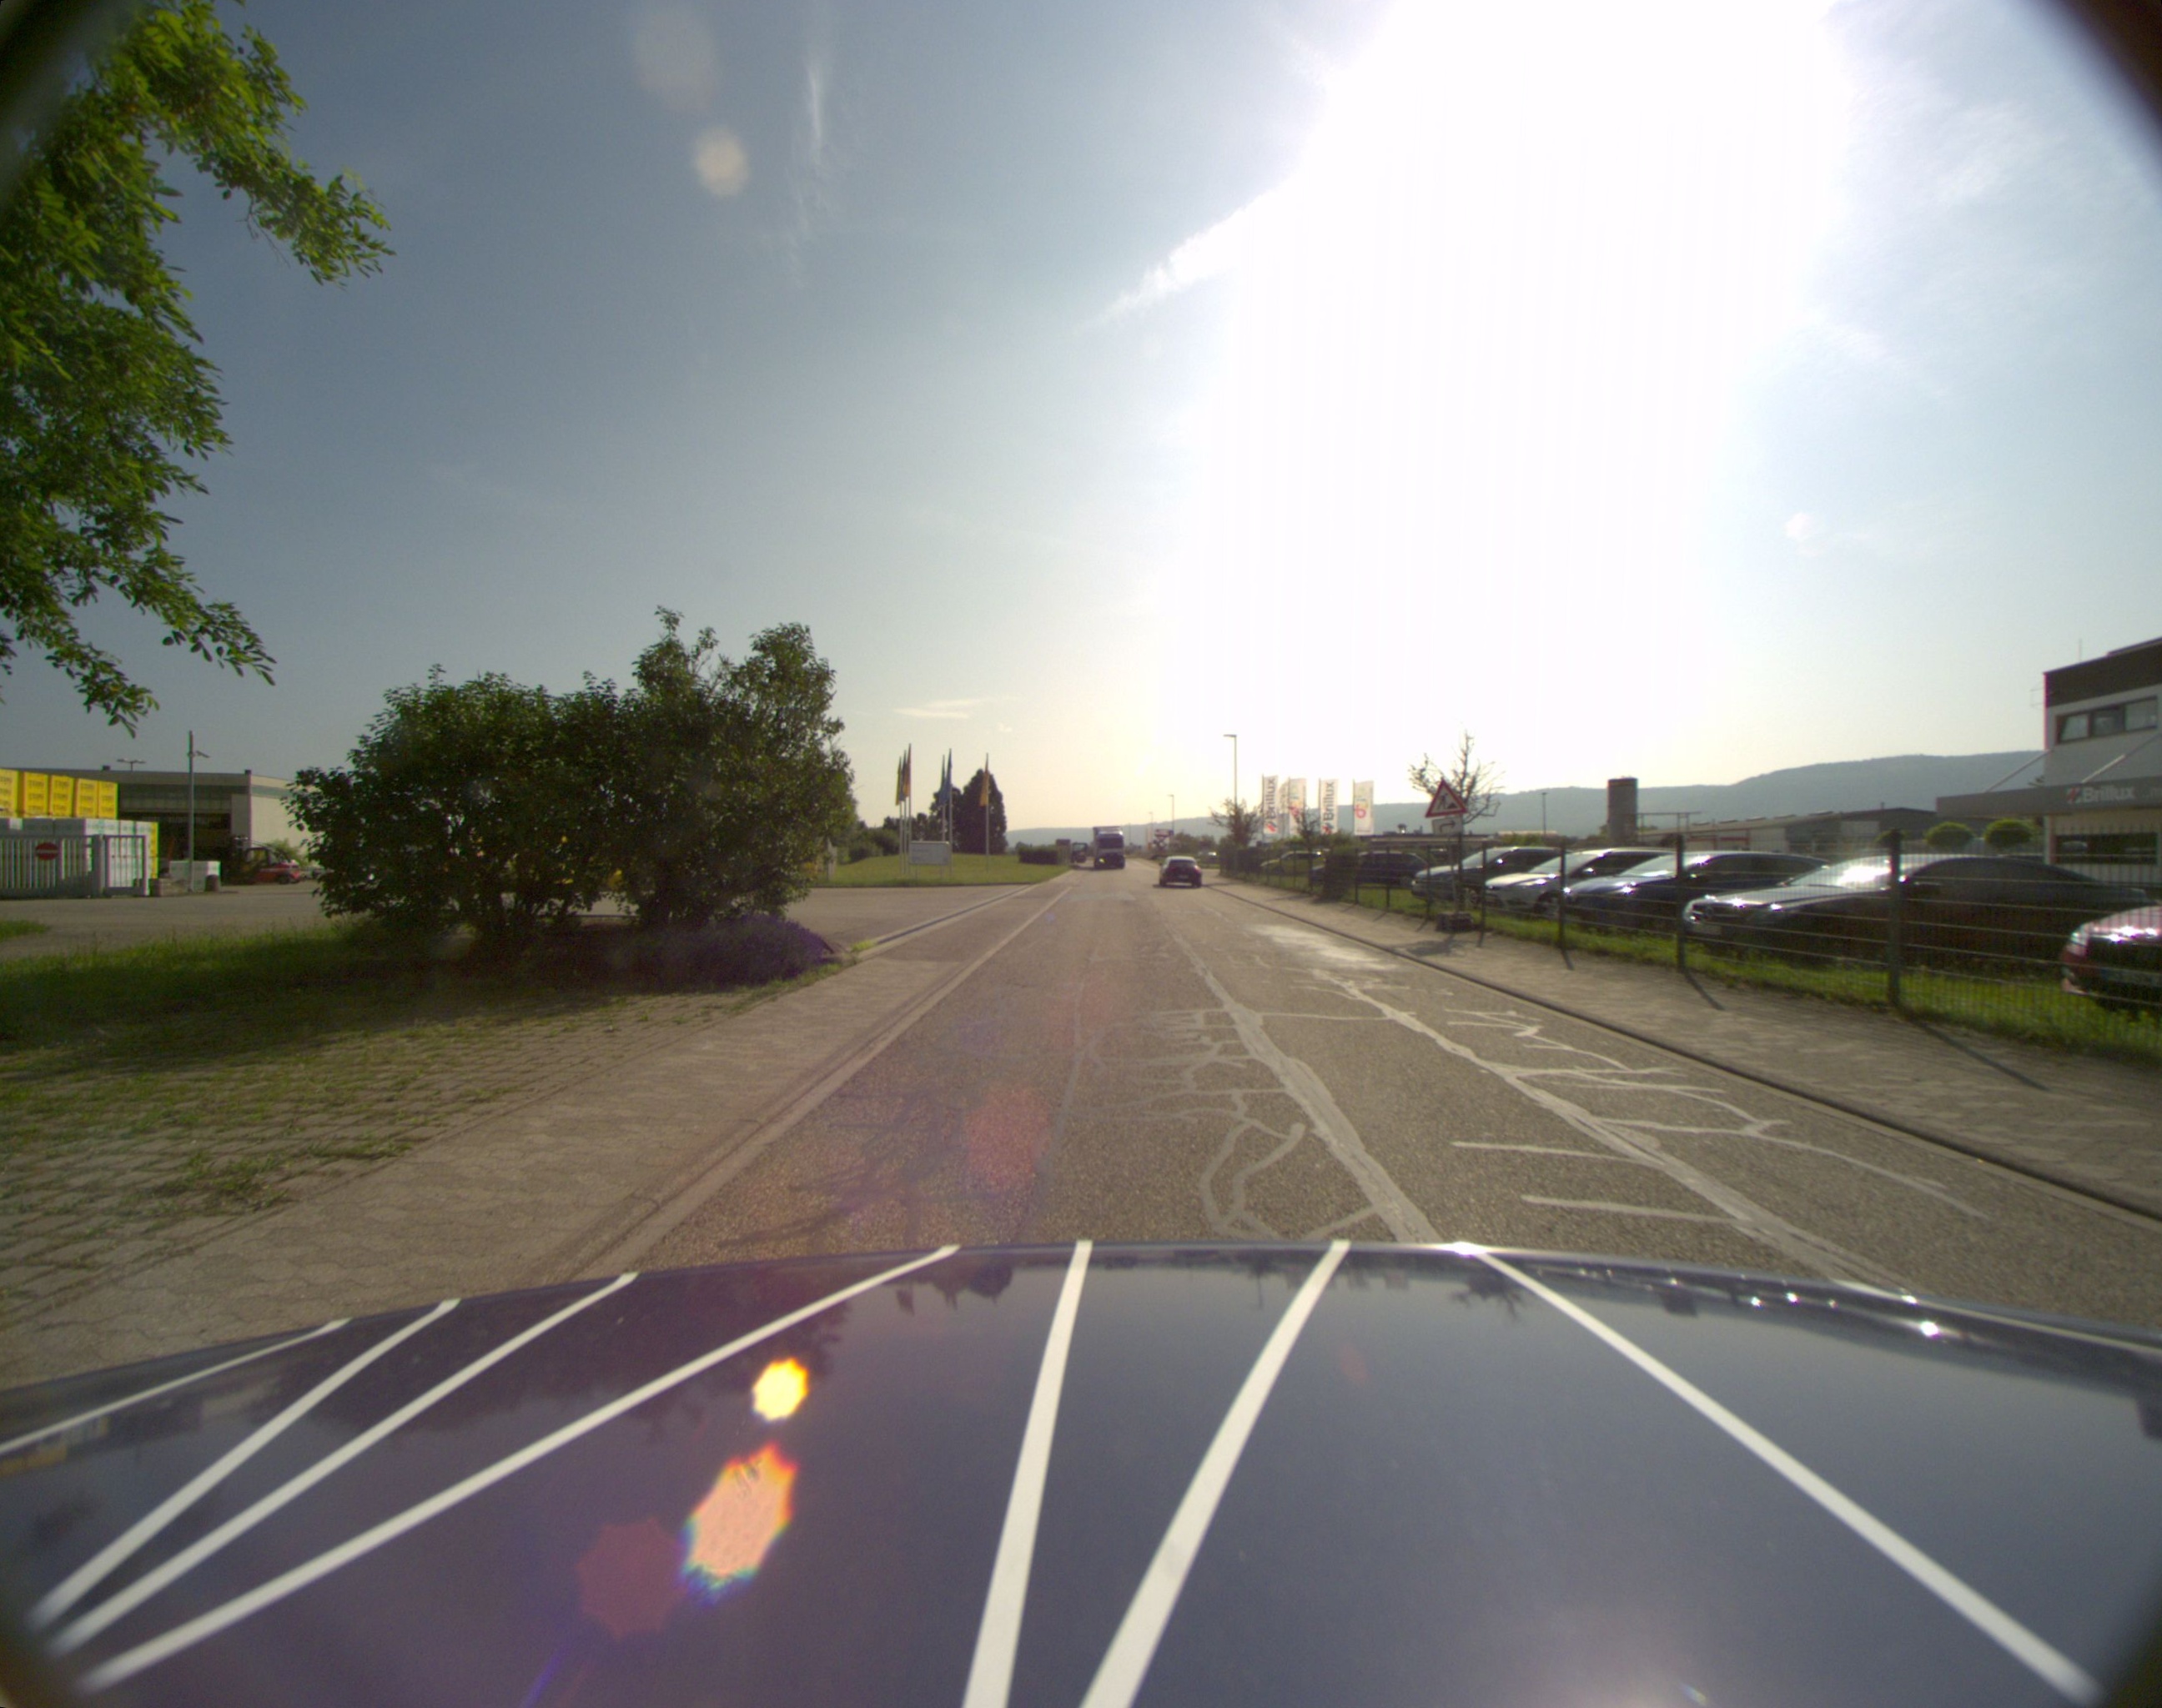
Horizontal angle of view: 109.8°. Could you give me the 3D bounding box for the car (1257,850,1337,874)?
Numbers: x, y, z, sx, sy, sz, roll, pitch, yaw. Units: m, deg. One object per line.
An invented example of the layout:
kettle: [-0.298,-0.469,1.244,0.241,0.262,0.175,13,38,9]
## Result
car: [12.482,0.439,44.098,4.173,1.360,1.869,0,1,3]

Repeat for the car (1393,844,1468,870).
car: [24.436,0.206,53.275,4.653,1.742,2.155,0,1,24]

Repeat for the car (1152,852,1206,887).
car: [4.579,0.694,35.990,1.998,1.441,4.419,2,0,1]

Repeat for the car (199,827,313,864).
car: [-47.735,-0.476,44.061,4.003,2.002,1.996,0,1,-19]

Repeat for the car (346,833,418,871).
car: [-51.794,-0.144,56.338,3.518,2.695,1.708,0,1,-19]

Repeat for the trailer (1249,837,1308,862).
trailer: [22.236,-0.491,85.415,6.314,2.590,2.858,1,1,16]

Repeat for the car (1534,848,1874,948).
car: [10.178,0.673,12.681,4.050,1.436,1.874,1,1,2]

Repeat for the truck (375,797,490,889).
truck: [-29.386,-0.509,34.659,2.548,3.854,3.993,-3,2,-19]

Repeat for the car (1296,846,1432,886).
car: [11.296,0.475,30.631,4.697,1.436,2.078,1,1,2]

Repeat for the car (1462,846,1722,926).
car: [10.401,0.615,15.729,4.050,1.436,1.874,1,1,2]

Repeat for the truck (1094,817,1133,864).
truck: [3.142,-1.296,72.876,3.394,4.183,6.098,-2,1,3]

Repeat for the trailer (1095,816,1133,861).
trailer: [3.324,-1.599,79.760,3.497,4.183,14.231,-2,1,2]

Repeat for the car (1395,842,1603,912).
car: [10.358,0.537,19.067,4.137,1.558,1.865,1,1,2]

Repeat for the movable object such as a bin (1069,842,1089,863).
movable object such as a bin: [-0.378,-0.259,112.282,2.435,2.994,5.750,1,1,-5]

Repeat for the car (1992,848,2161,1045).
car: [10.169,0.734,5.546,4.547,1.436,1.952,1,1,2]

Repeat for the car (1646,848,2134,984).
car: [9.907,0.694,9.609,4.050,1.436,1.874,1,1,2]
